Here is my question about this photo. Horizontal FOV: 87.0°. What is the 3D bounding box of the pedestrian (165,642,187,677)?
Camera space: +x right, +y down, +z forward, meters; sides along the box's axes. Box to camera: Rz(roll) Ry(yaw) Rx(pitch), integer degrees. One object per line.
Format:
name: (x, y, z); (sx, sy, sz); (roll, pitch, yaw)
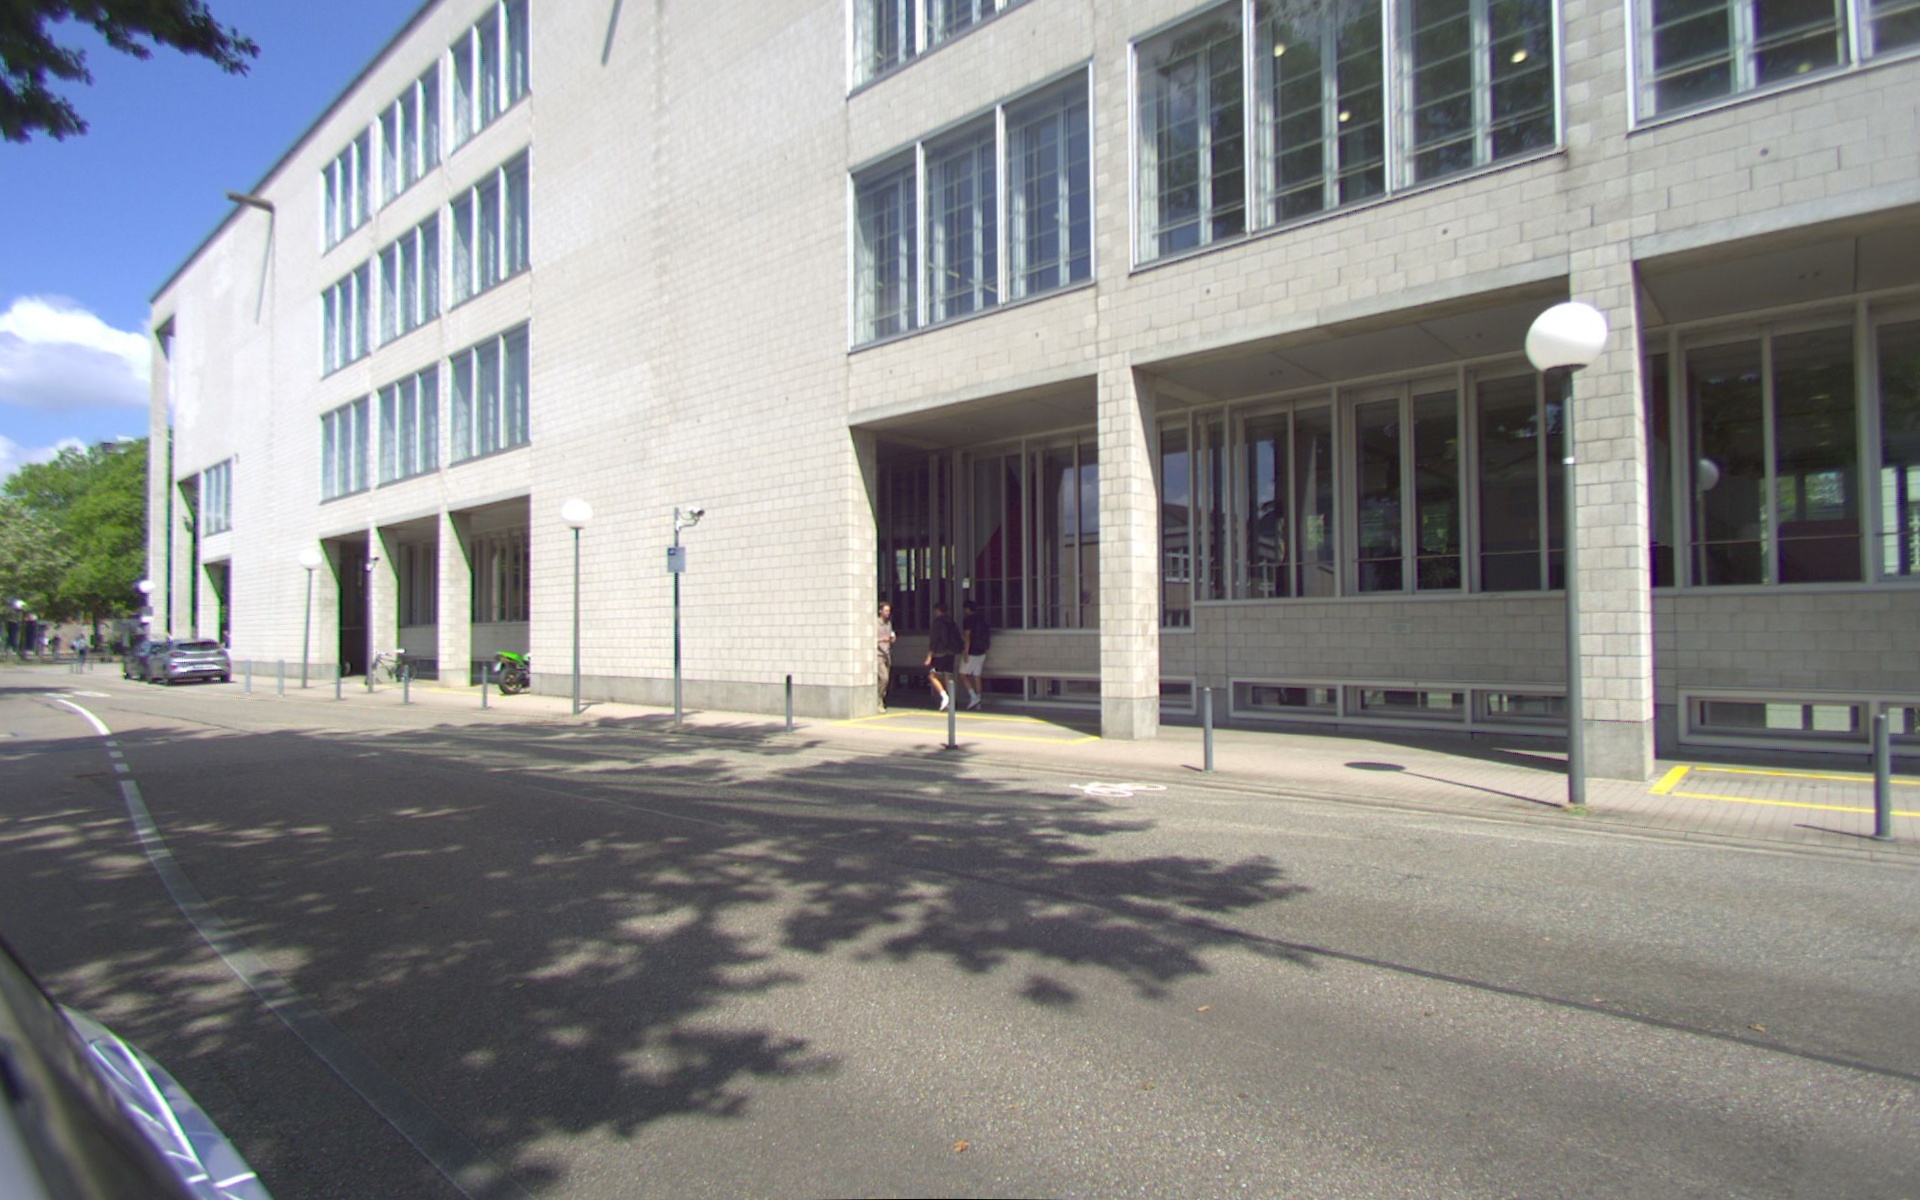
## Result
pedestrian: (-41.190, 3.135, 53.165); (1.080, 1.794, 0.745); (-3, -2, 41)

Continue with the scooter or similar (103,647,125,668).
scooter or similar: (-52.382, 3.547, 62.657); (0.702, 1.200, 1.620); (0, -1, -27)

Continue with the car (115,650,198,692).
car: (-30.204, 2.628, 38.006); (4.663, 1.434, 1.708); (-3, -2, 42)

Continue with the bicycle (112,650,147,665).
bicycle: (-63.810, 4.379, 77.743); (0.676, 1.066, 2.116); (-1, -1, 12)

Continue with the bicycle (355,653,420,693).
bicycle: (-17.277, 2.192, 30.580); (0.607, 1.095, 1.624); (-2, -2, 36)

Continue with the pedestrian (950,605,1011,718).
pedestrian: (0.357, 1.050, 17.481); (0.719, 1.895, 0.723); (-3, -2, 42)

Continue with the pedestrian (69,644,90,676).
pedestrian: (-49.076, 3.337, 56.429); (0.749, 1.738, 1.237); (-2, 0, -38)

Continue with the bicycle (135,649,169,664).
bicycle: (-61.396, 4.295, 76.935); (0.676, 1.115, 2.116); (-1, -1, 12)

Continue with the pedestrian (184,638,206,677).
pedestrian: (-40.696, 3.039, 53.823); (1.080, 2.029, 0.745); (-3, -2, 41)

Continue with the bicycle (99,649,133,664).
bicycle: (-65.130, 4.375, 78.145); (0.616, 1.066, 2.116); (-1, -1, 12)

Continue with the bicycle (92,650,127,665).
bicycle: (-65.800, 4.431, 78.296); (0.616, 1.066, 2.116); (-1, -1, 12)

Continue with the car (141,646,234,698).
car: (-26.299, 2.390, 34.407); (4.404, 1.547, 1.708); (-2, 0, 42)

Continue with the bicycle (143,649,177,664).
bicycle: (-60.666, 4.280, 76.790); (0.676, 1.115, 2.116); (-1, -1, 12)

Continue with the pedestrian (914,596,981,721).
pedestrian: (-0.211, 0.970, 16.992); (0.829, 2.029, 0.691); (-3, -2, 42)

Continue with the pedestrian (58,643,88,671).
pedestrian: (-60.264, 3.882, 68.778); (1.369, 1.838, 1.382); (-3, -2, 41)

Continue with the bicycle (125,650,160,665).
bicycle: (-62.285, 4.339, 77.125); (0.676, 1.066, 2.116); (-1, -1, 12)

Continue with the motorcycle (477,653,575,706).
motorcycle: (-10.429, 1.886, 24.403); (0.772, 1.146, 2.149); (-2, -2, 31)

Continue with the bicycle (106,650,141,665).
bicycle: (-64.466, 4.396, 78.008); (0.616, 1.066, 2.116); (-1, -1, 12)

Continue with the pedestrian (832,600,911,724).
pedestrian: (-1.516, 1.045, 17.336); (1.065, 2.029, 0.839); (-2, -3, 39)
